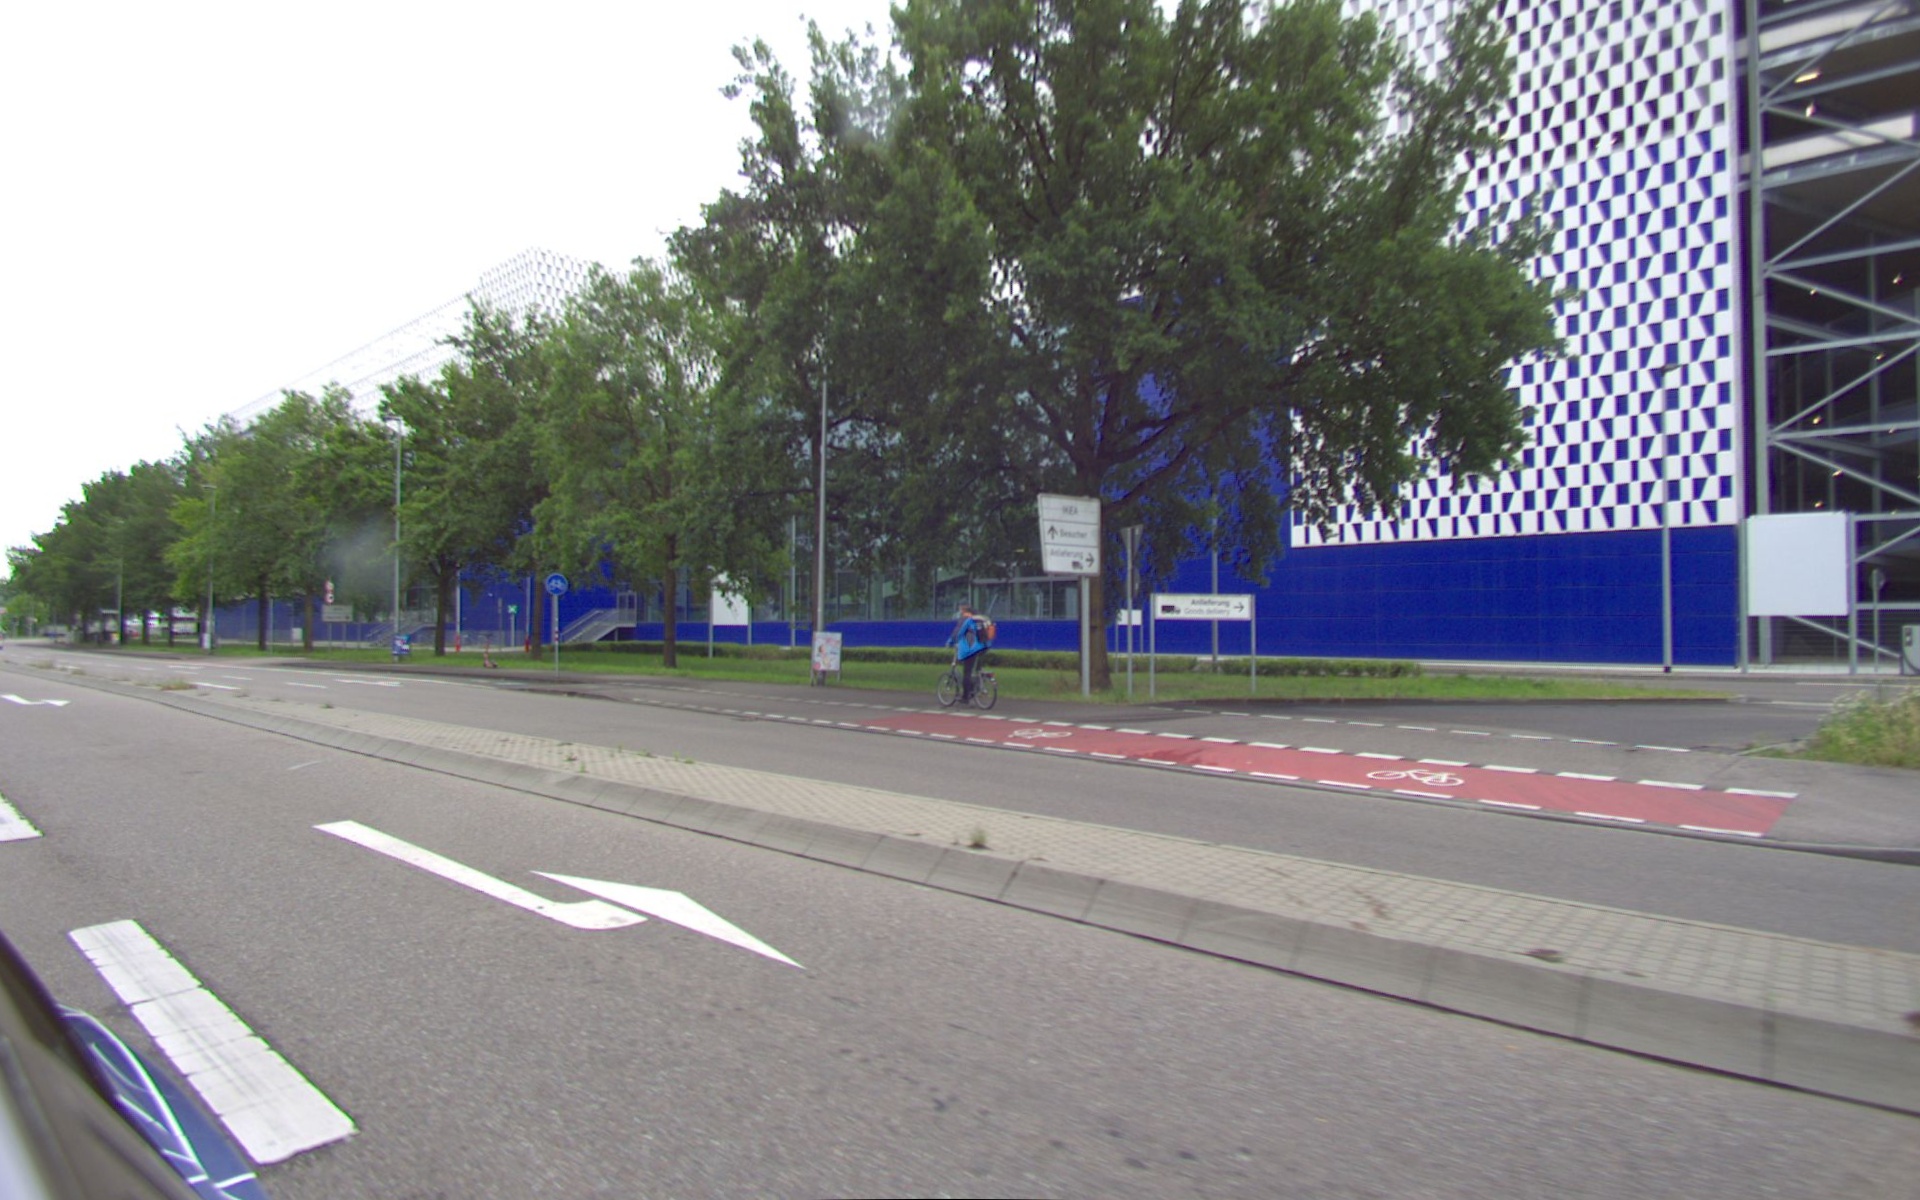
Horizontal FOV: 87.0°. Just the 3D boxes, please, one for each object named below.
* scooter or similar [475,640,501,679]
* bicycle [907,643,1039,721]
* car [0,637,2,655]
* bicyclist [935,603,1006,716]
[{"bbox_3d":[-16.600,2.077,35.602,0.441,1.332,1.508,2,-3,-39],"label":"scooter or similar"},{"bbox_3d":[0.190,1.370,17.442,2.369,1.196,0.705,-1,-1,41],"label":"bicycle"},{"bbox_3d":[-79.833,3.716,82.713,3.645,1.439,1.660,-2,-5,38],"label":"car"},{"bbox_3d":[0.181,0.995,17.452,1.019,1.888,0.694,-1,-1,41],"label":"bicyclist"}]
